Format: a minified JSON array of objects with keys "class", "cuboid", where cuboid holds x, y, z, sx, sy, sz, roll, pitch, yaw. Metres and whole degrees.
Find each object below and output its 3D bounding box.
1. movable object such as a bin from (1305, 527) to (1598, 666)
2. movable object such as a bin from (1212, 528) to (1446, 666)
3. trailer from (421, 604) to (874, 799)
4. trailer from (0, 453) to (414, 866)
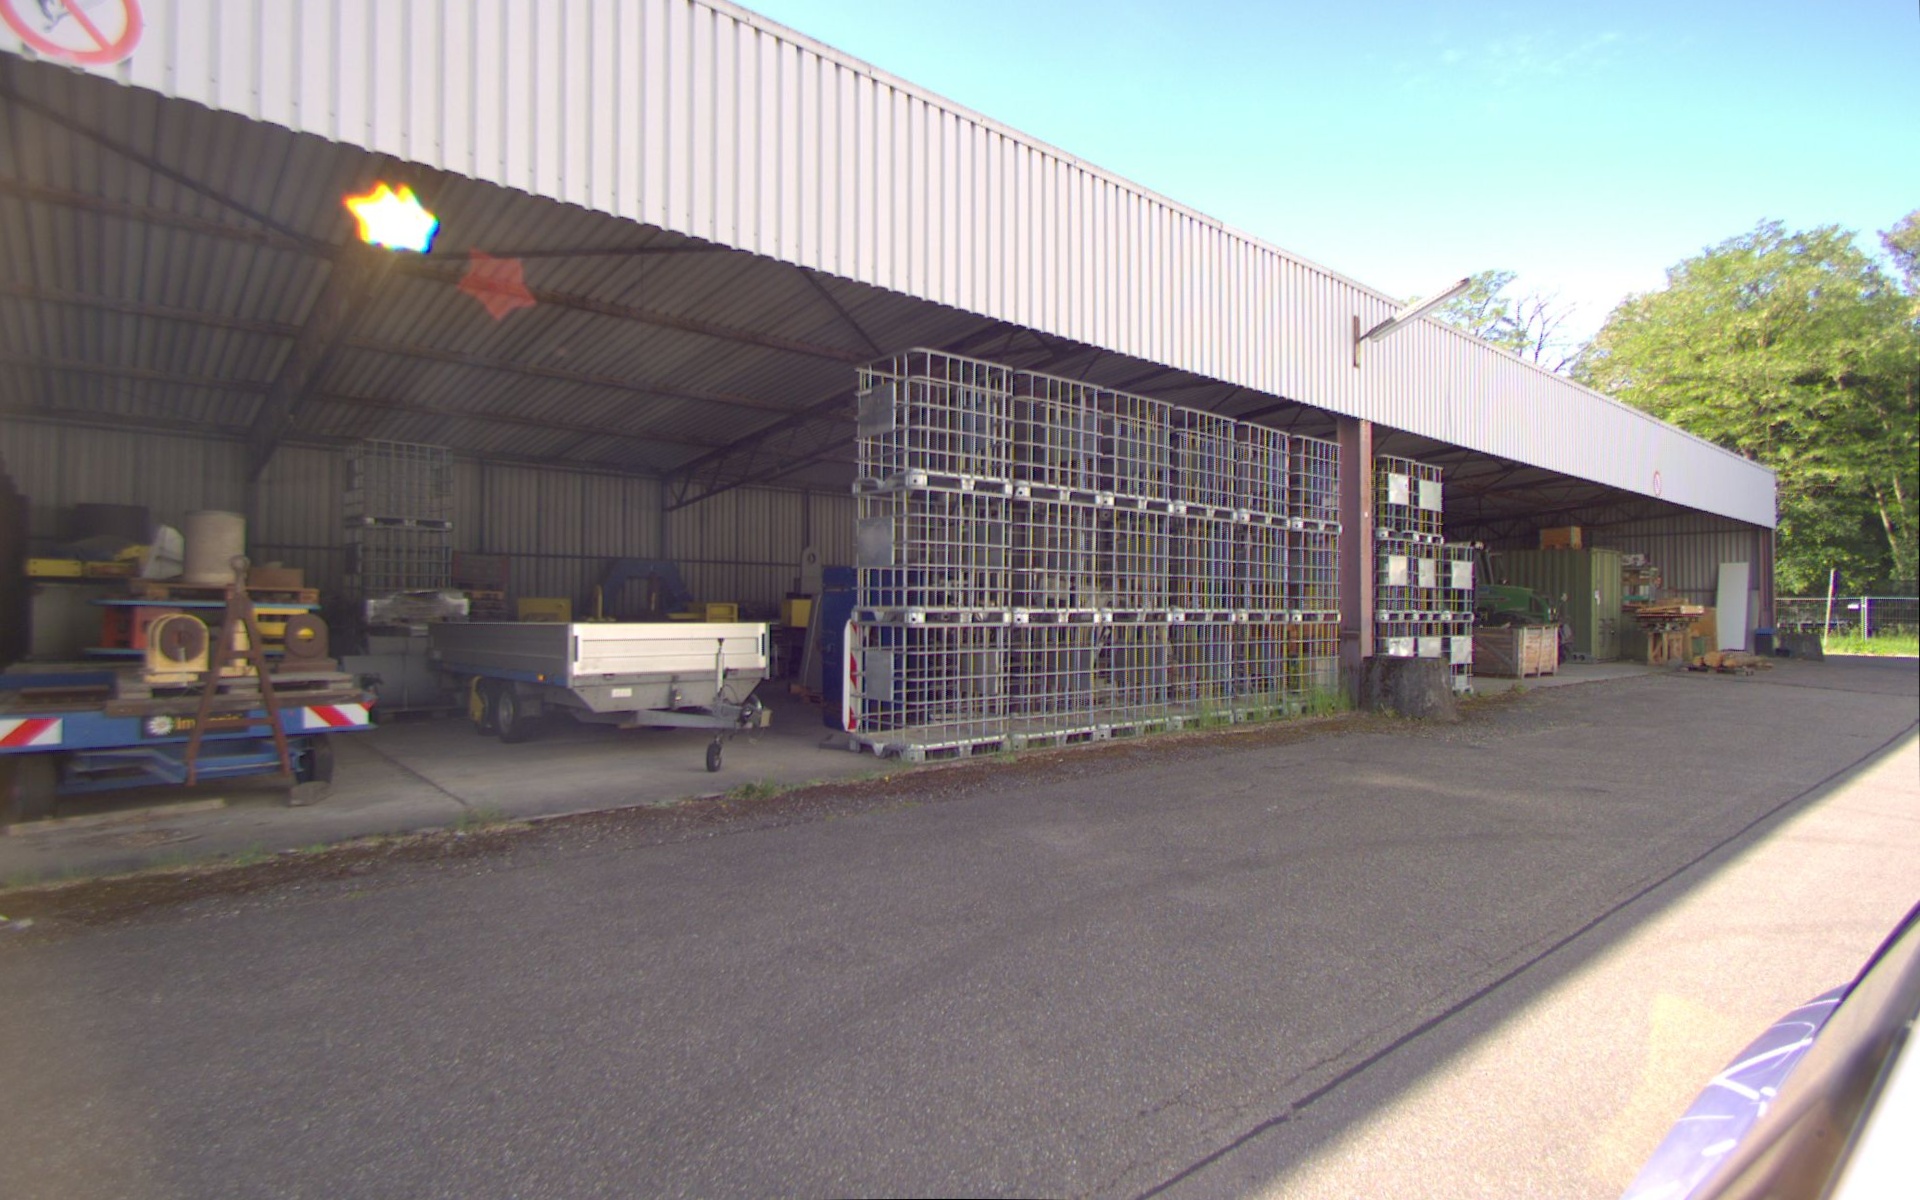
[{"class":"movable object such as a bin","cuboid":[11.787,-0.073,24.698,2.770,2.962,5.845,1,0,-40]},{"class":"movable object such as a bin","cuboid":[8.503,-0.047,23.601,2.453,2.867,4.535,1,-1,-40]},{"class":"trailer","cuboid":[-3.306,0.693,9.630,1.940,1.200,5.737,0,1,-42]},{"class":"trailer","cuboid":[-5.499,0.256,7.150,2.124,2.015,4.433,0,1,-39]}]
